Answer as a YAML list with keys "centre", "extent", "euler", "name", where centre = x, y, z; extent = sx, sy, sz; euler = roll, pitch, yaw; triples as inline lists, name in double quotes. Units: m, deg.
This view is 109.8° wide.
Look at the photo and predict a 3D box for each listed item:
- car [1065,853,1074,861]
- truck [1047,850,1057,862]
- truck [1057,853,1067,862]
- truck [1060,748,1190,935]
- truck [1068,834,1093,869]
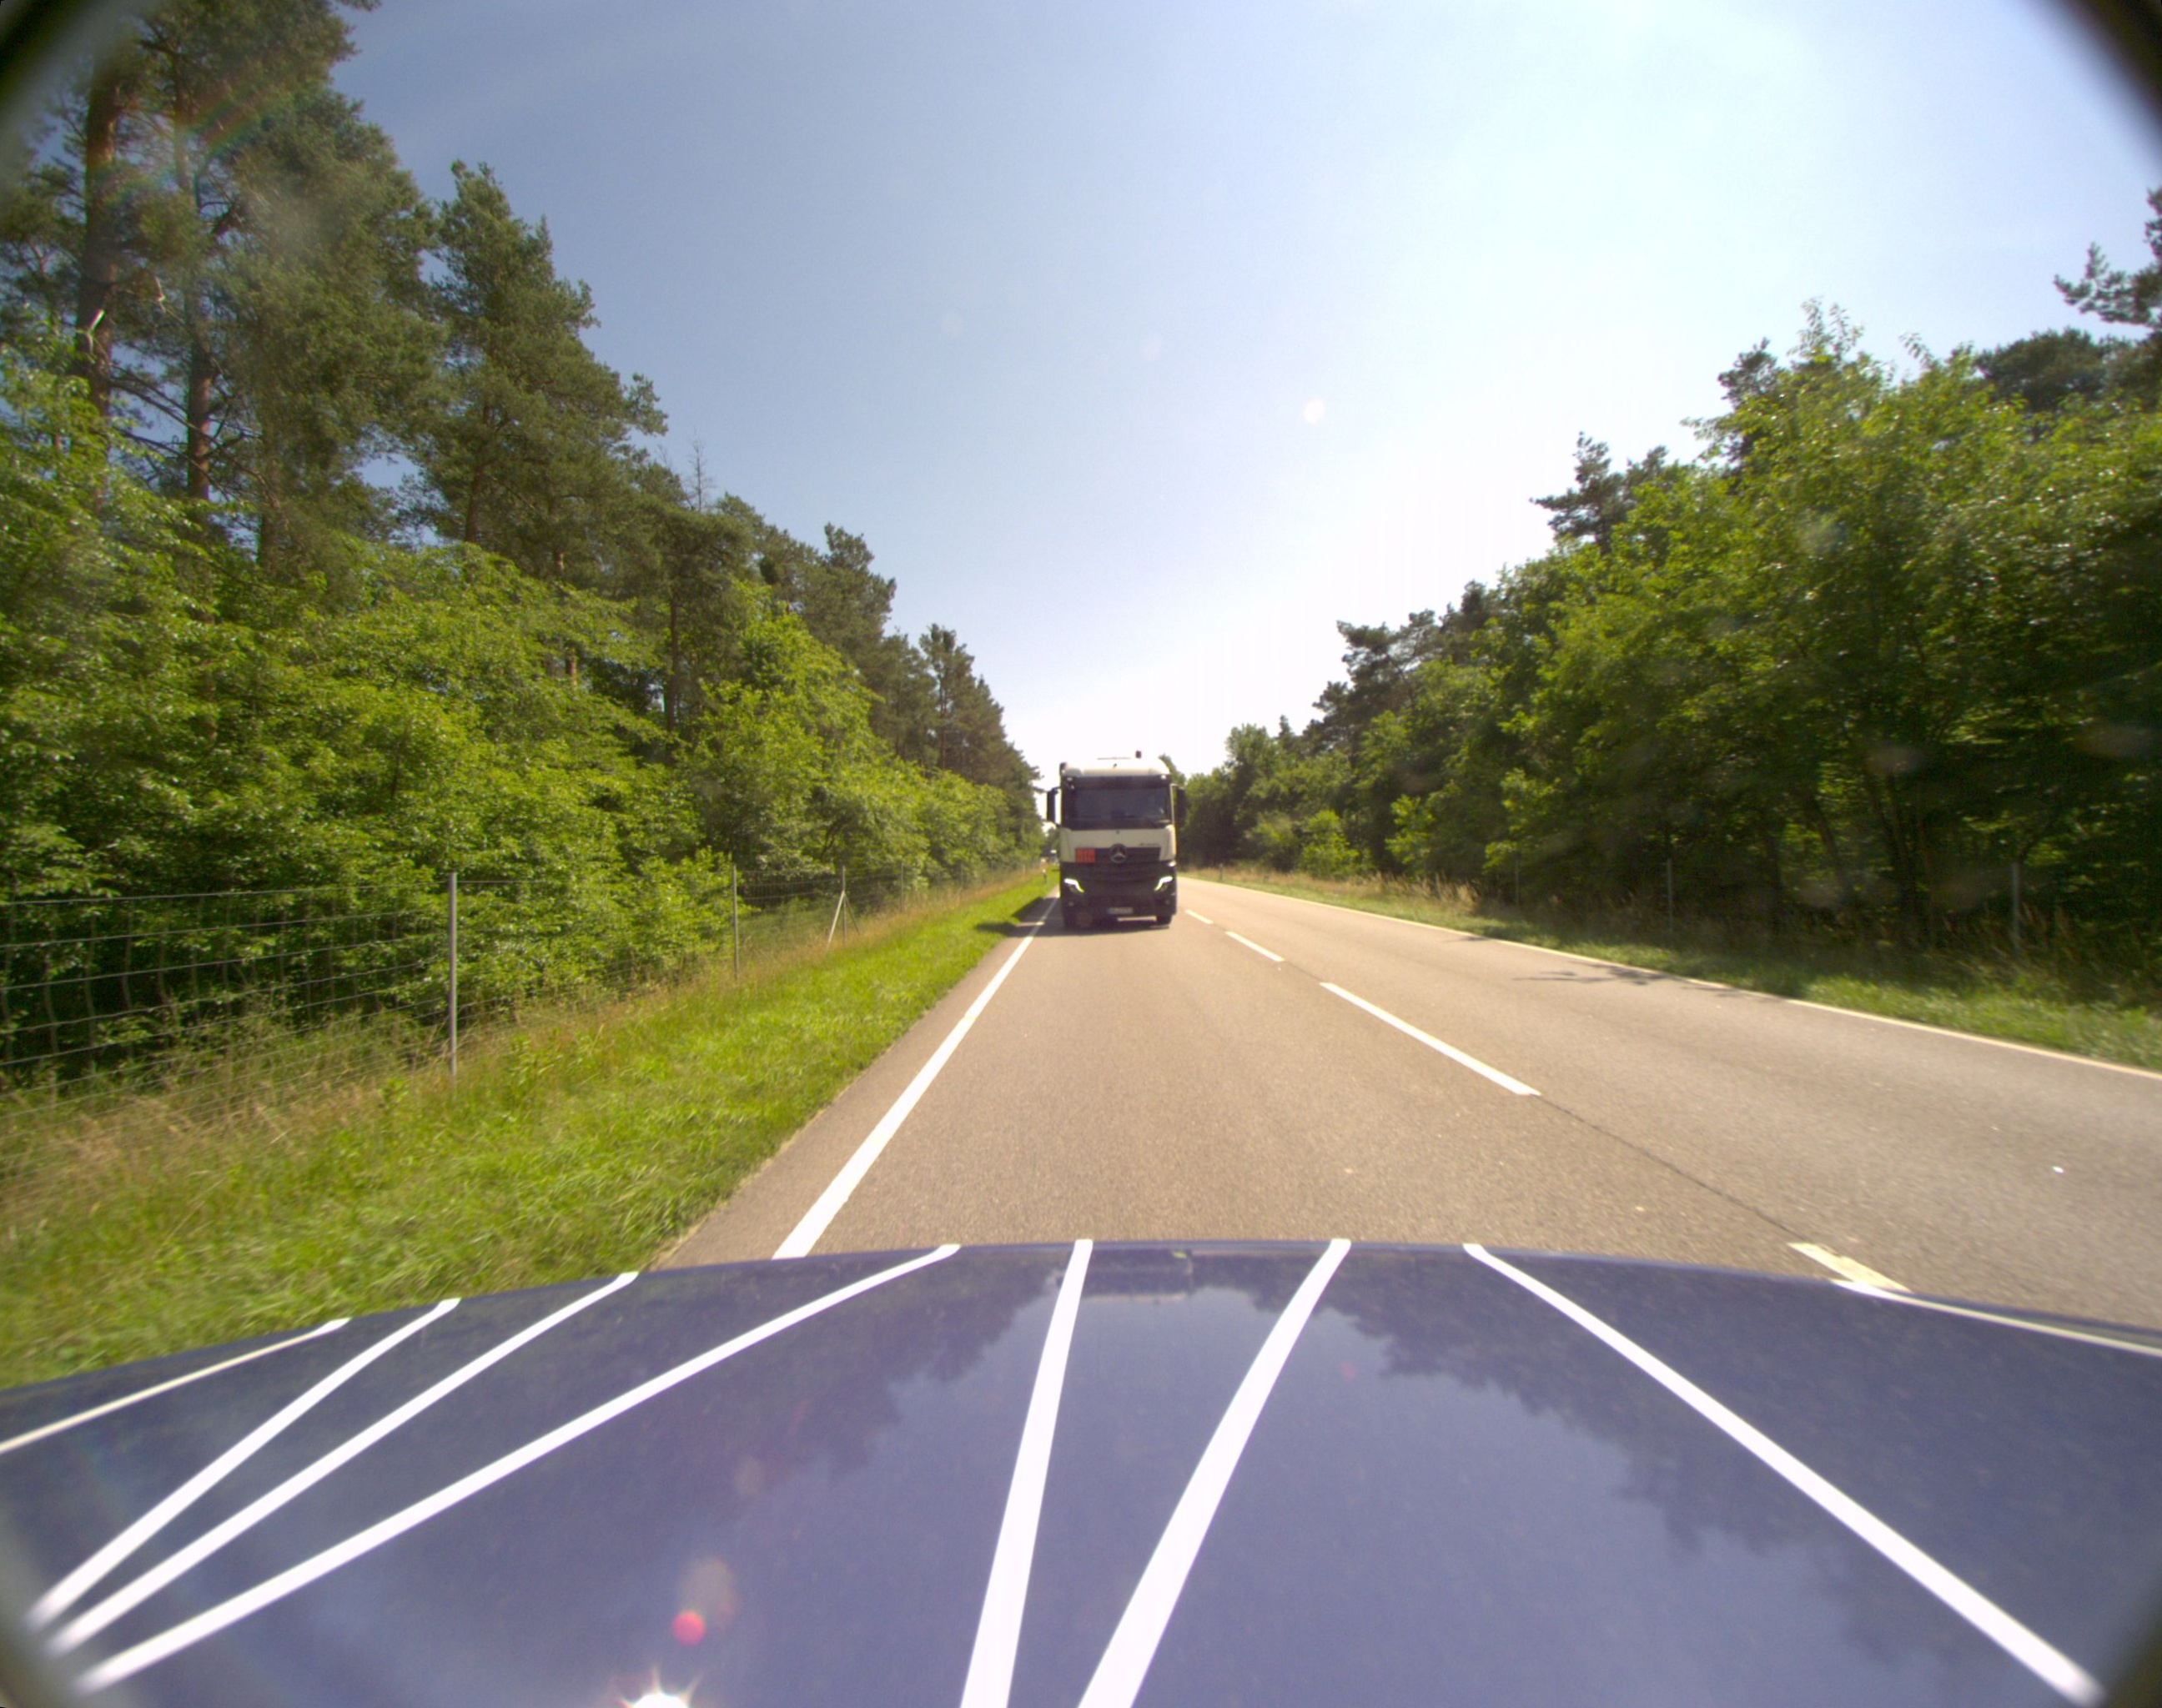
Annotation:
- centre: [-2.315, 0.627, 154.229]
  extent: [1.885, 1.462, 3.999]
  euler: [-1, 0, -2]
  name: "car"
- centre: [-9.144, 0.585, 240.917]
  extent: [2.495, 3.619, 6.099]
  euler: [-1, 0, -7]
  name: "truck"
- centre: [-5.193, 0.871, 206.222]
  extent: [2.494, 2.442, 6.103]
  euler: [-1, 0, 0]
  name: "truck"
- centre: [0.881, -0.235, 18.668]
  extent: [2.435, 3.672, 6.456]
  euler: [-3, 0, 0]
  name: "truck"
- centre: [-0.036, -0.249, 83.105]
  extent: [2.494, 3.619, 6.103]
  euler: [-2, 0, 0]
  name: "truck"
